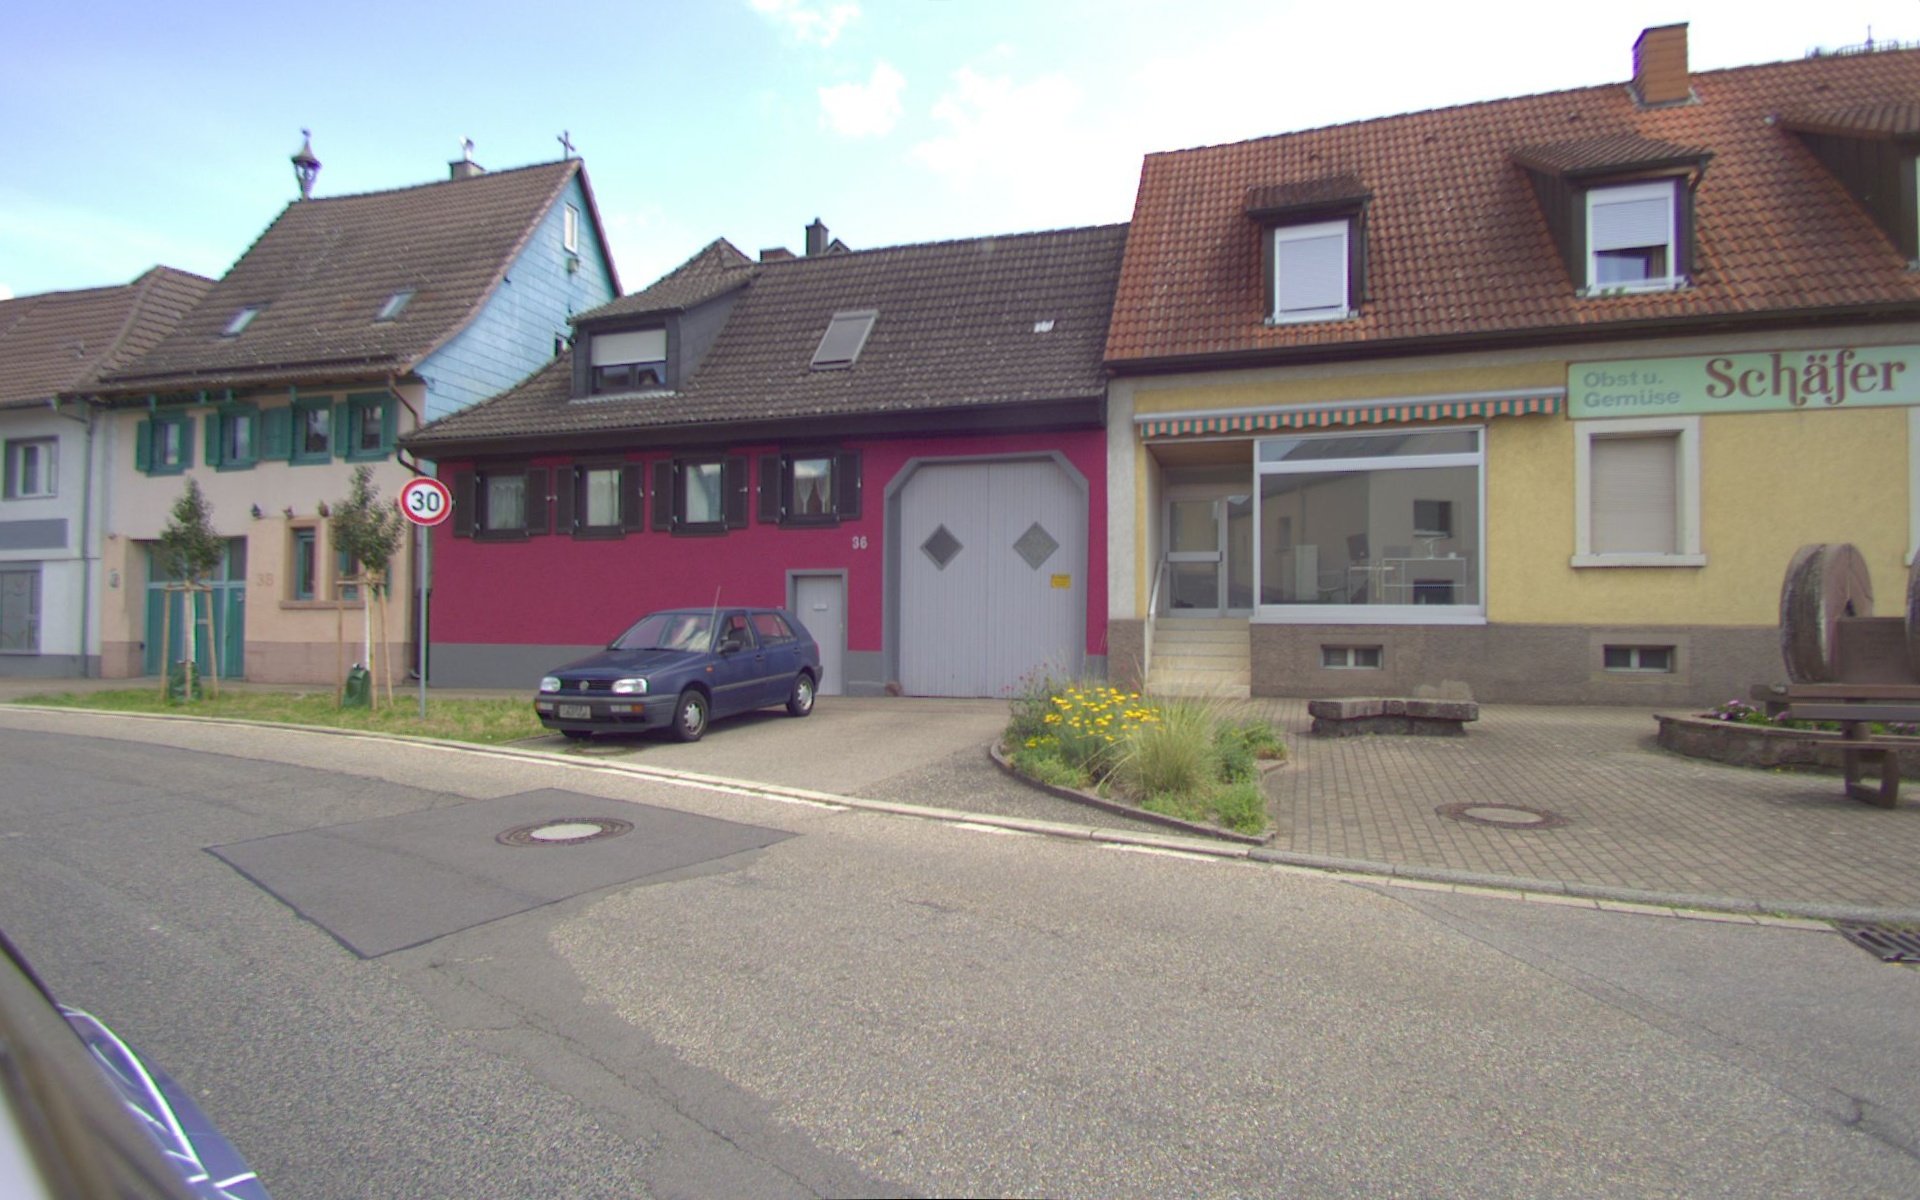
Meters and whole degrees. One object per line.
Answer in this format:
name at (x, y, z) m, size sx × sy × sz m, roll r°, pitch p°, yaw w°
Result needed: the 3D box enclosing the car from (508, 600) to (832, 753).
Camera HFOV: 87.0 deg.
car at (-3.173, 0.742, 11.943) m, size 1.708 × 1.475 × 3.953 m, roll 0°, pitch 0°, yaw 20°
